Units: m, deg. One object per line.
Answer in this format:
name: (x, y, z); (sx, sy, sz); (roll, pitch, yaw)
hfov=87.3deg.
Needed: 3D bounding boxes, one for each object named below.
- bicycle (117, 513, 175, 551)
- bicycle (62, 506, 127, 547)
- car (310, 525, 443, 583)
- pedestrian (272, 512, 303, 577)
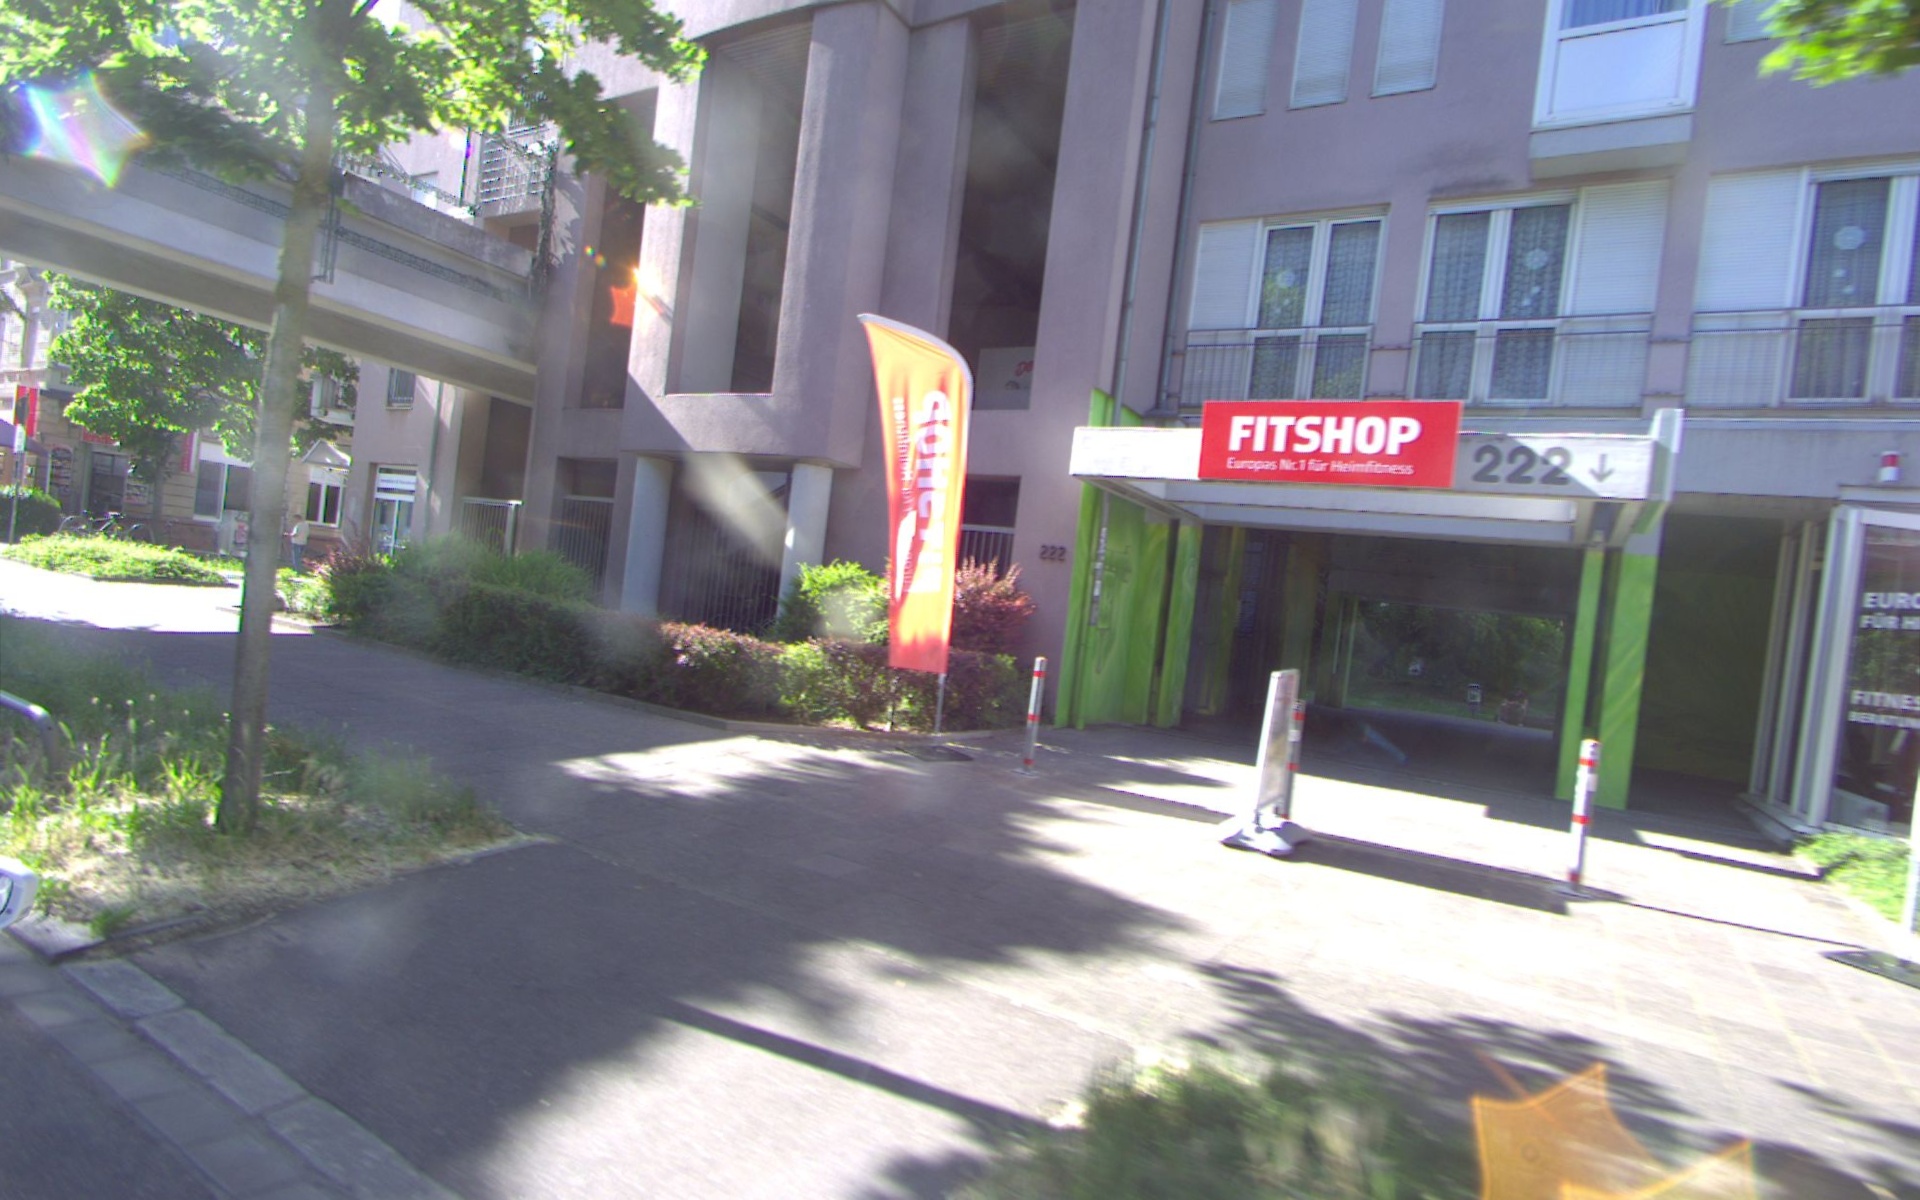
bicycle: (-24.851, -2.063, 30.736); (0.386, 0.986, 1.313); (7, 0, 21)
bicycle: (-24.937, -2.114, 29.006); (0.386, 0.986, 1.313); (7, 0, 21)
car: (-21.830, -1.677, 37.824); (1.746, 1.457, 4.002); (10, -1, 21)
pedestrian: (-17.456, -1.445, 26.128); (0.526, 1.596, 0.628); (6, 1, -34)
